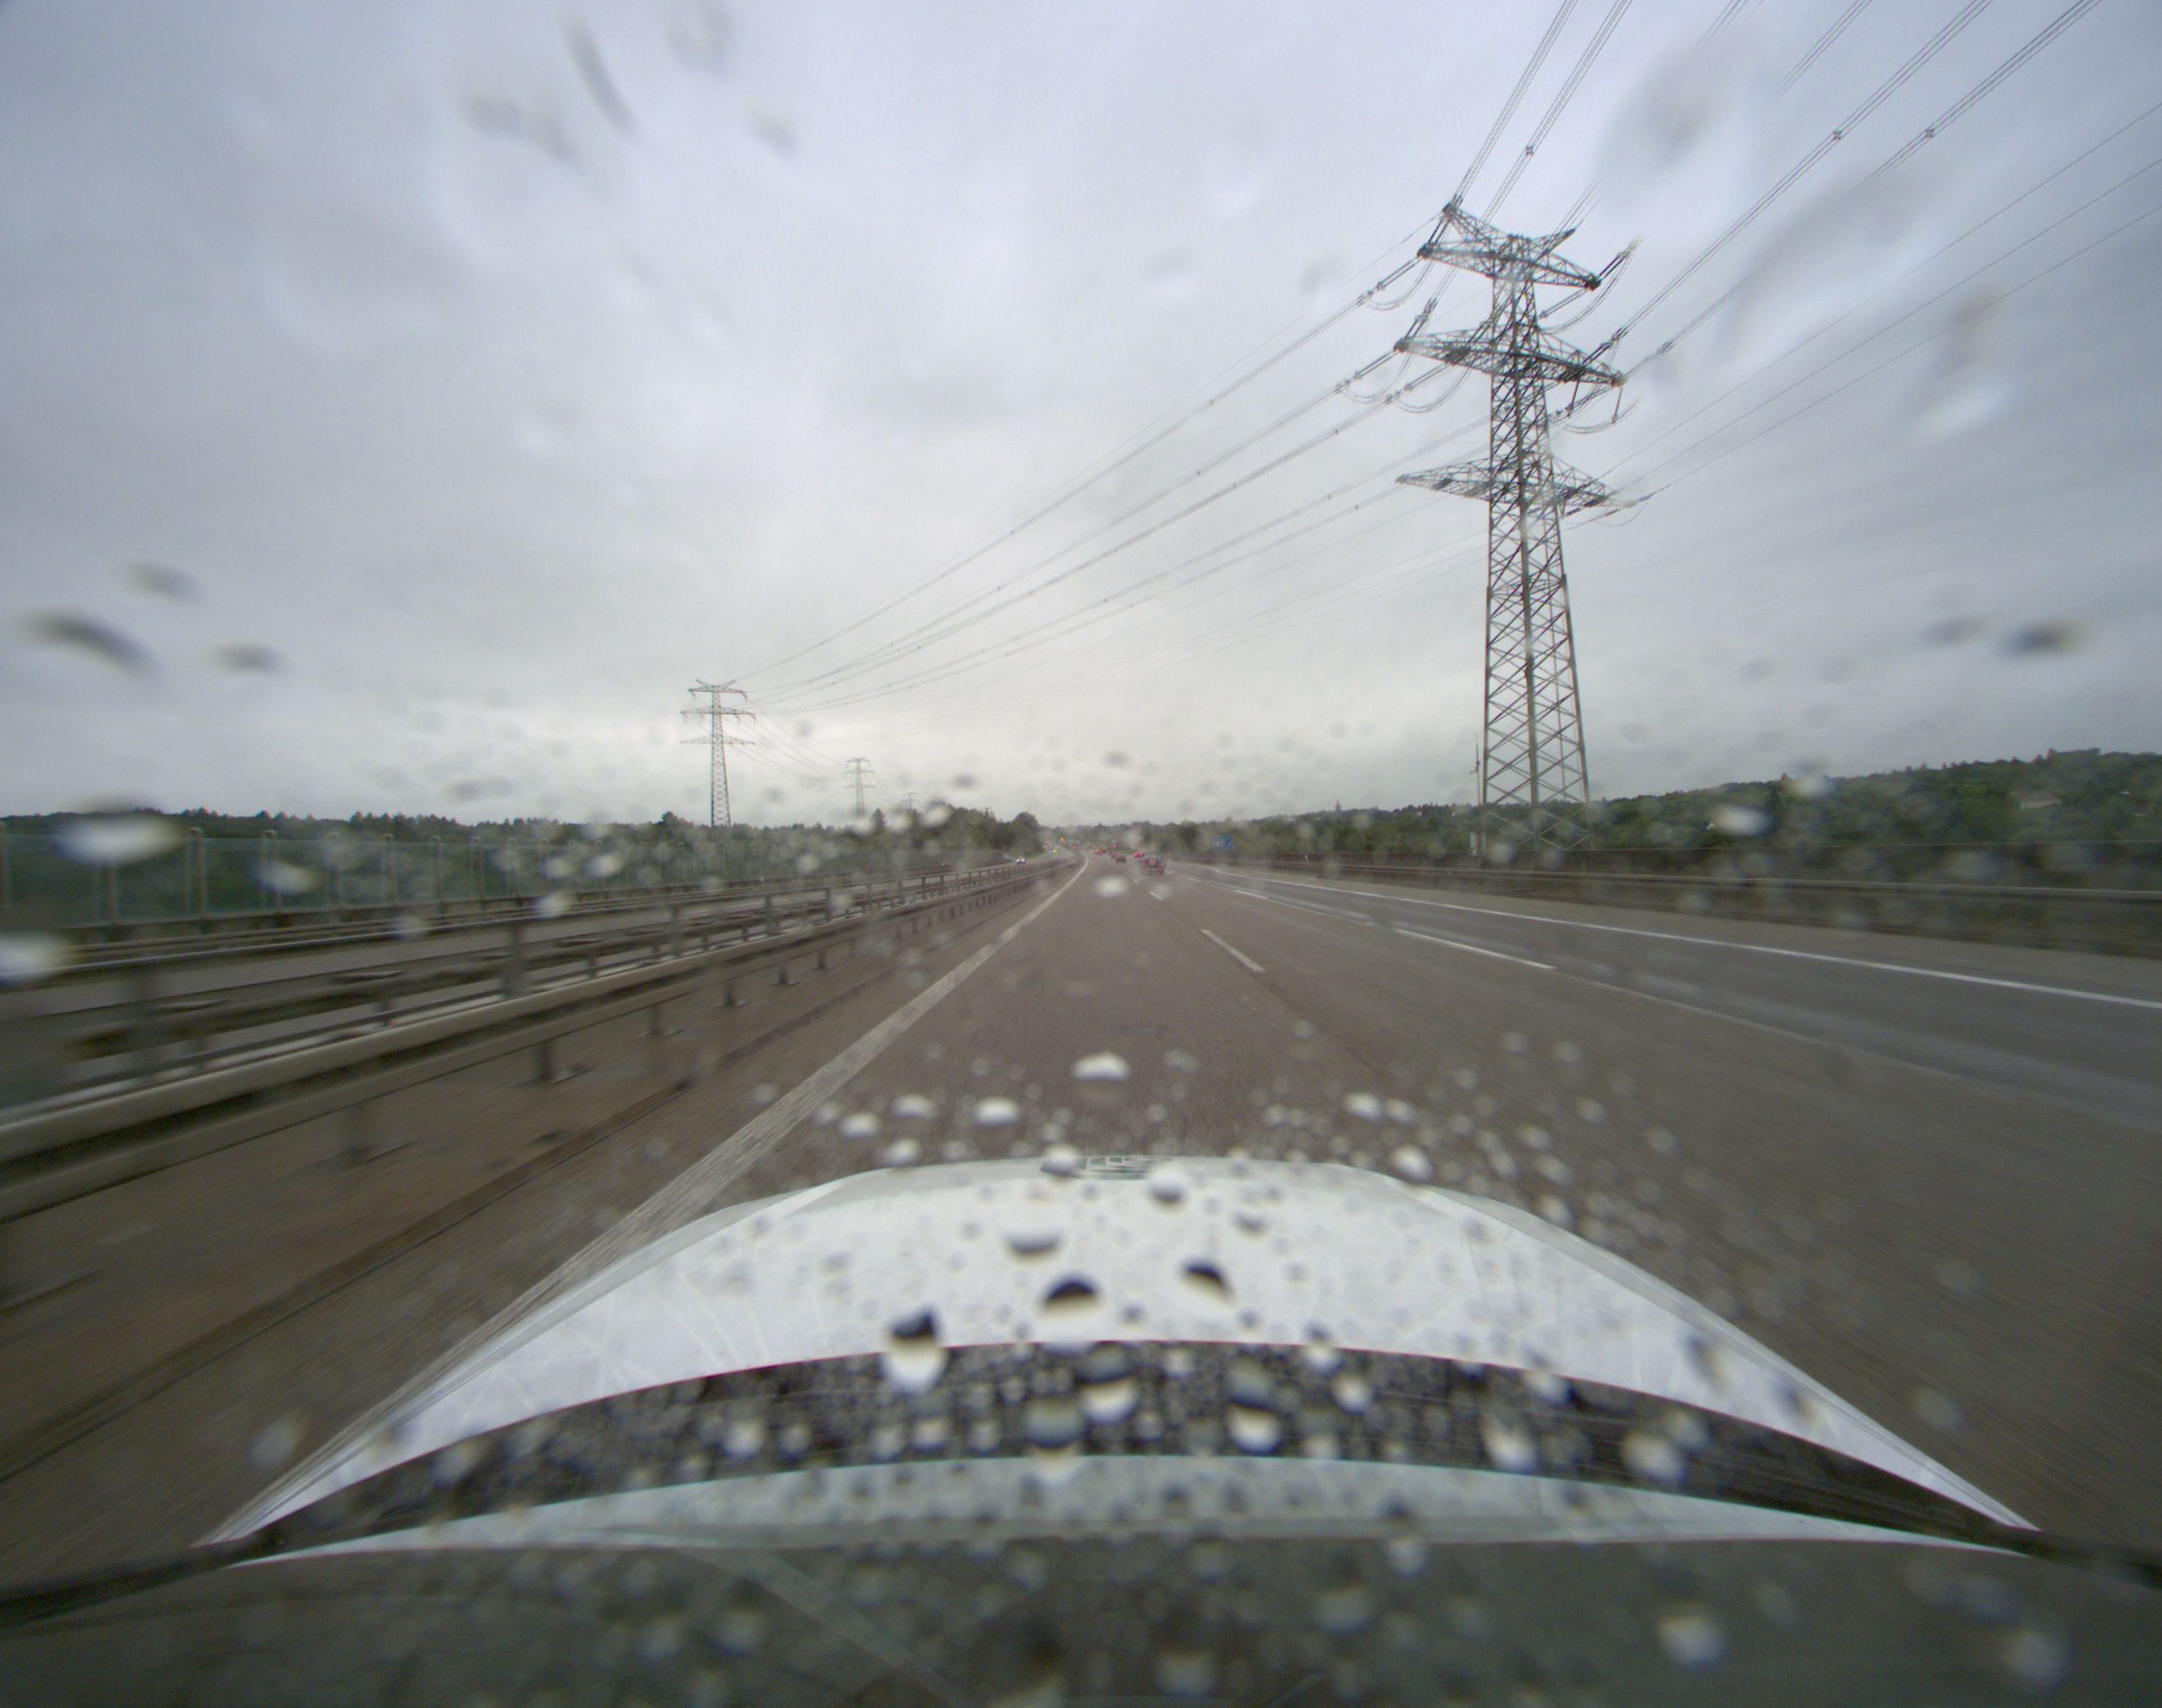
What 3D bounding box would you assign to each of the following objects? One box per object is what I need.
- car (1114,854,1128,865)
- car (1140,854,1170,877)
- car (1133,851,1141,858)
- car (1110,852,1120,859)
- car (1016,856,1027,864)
[{"bbox_3d":[6.953,0.873,141.430,1.988,1.760,3.998,-3,1,-2],"label":"car"},{"bbox_3d":[5.772,0.862,64.033,2.050,1.671,5.524,-1,0,2],"label":"car"},{"bbox_3d":[14.609,0.170,210.836,1.913,1.709,4.006,-3,1,5],"label":"car"},{"bbox_3d":[8.212,0.295,198.491,1.988,1.628,3.998,-3,1,-2],"label":"car"},{"bbox_3d":[-13.347,1.298,181.784,1.987,1.629,4.714,-2,0,1],"label":"car"}]
